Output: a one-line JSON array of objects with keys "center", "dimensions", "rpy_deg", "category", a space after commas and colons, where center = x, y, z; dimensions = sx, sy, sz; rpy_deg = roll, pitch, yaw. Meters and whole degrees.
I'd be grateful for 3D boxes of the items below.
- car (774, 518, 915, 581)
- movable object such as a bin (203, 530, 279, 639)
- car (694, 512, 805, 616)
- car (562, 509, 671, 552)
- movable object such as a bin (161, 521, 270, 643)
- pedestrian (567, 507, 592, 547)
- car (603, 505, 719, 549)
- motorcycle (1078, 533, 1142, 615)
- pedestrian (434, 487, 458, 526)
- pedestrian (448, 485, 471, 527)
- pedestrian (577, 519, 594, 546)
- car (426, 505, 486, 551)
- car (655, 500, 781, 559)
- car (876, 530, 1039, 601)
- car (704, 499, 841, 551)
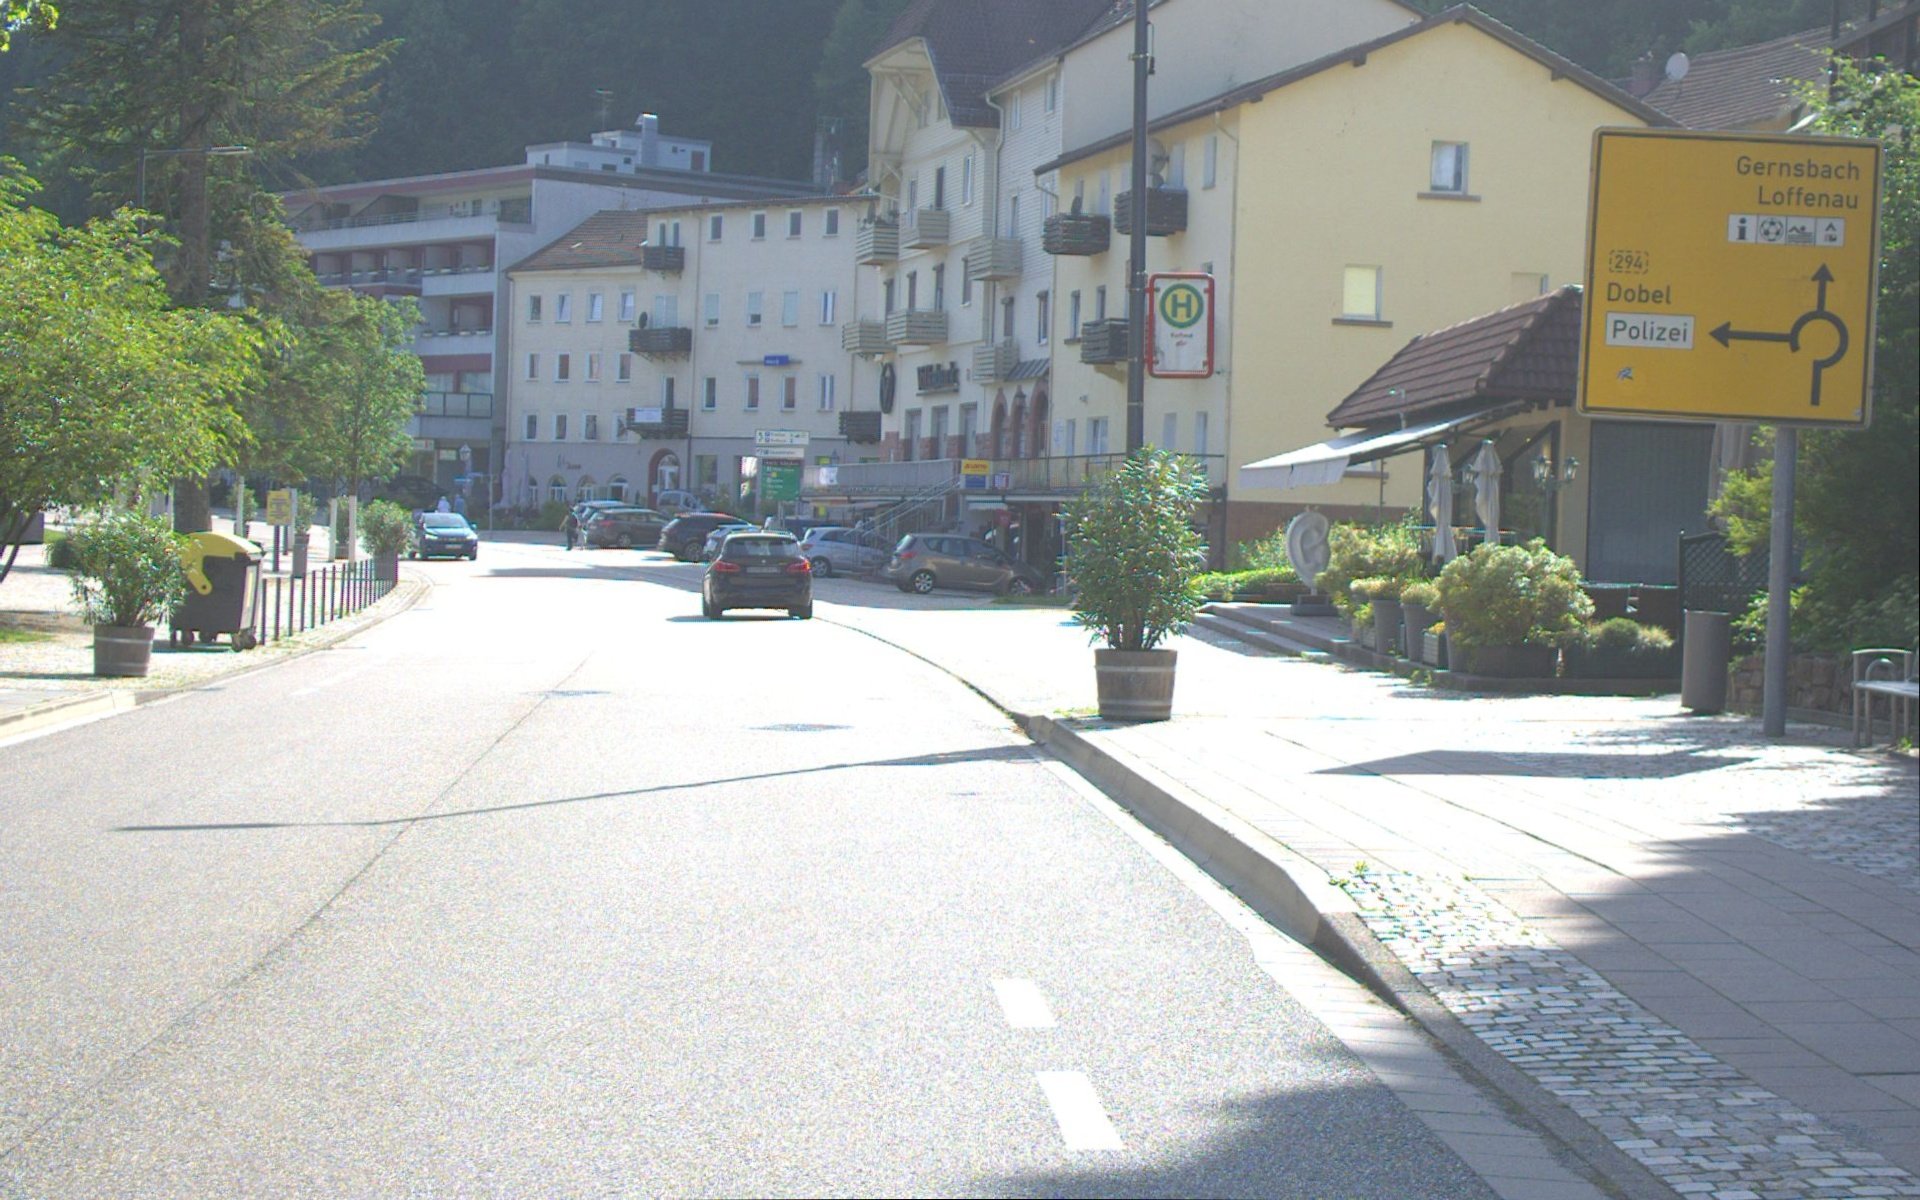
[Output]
[{"center": [-3.496, -1.530, 103.965], "dimensions": [3.908, 1.583, 1.775], "rpy_deg": [4, 1, -12], "category": "car"}, {"center": [-9.343, -0.214, 44.709], "dimensions": [0.755, 1.337, 1.295], "rpy_deg": [4, 1, -5], "category": "movable object such as a bin"}, {"center": [-3.747, -0.666, 60.743], "dimensions": [1.727, 1.569, 3.754], "rpy_deg": [3, 3, -6], "category": "car"}, {"center": [-13.465, -2.737, 134.619], "dimensions": [3.861, 1.544, 1.773], "rpy_deg": [-2, 5, -32], "category": "car"}, {"center": [-9.239, -0.238, 42.705], "dimensions": [1.078, 1.422, 1.377], "rpy_deg": [4, 1, -5], "category": "movable object such as a bin"}, {"center": [-14.184, -2.725, 128.152], "dimensions": [0.735, 1.437, 0.633], "rpy_deg": [-1, 3, -37], "category": "pedestrian"}, {"center": [-11.335, -2.785, 130.338], "dimensions": [4.010, 1.511, 1.773], "rpy_deg": [-2, 5, -32], "category": "car"}, {"center": [2.433, -0.437, 55.937], "dimensions": [0.697, 1.292, 2.213], "rpy_deg": [-1, 1, -6], "category": "motorcycle"}, {"center": [-21.619, -3.948, 144.612], "dimensions": [0.757, 1.588, 0.628], "rpy_deg": [2, 2, -34], "category": "pedestrian"}, {"center": [-21.225, -3.991, 145.849], "dimensions": [0.669, 1.722, 0.707], "rpy_deg": [2, 2, -34], "category": "pedestrian"}, {"center": [-13.988, -2.533, 128.349], "dimensions": [0.417, 0.998, 0.531], "rpy_deg": [-1, 3, -38], "category": "pedestrian"}, {"center": [-16.066, -2.309, 109.766], "dimensions": [1.741, 1.457, 4.188], "rpy_deg": [0, 1, -6], "category": "car"}, {"center": [-8.483, -2.470, 120.249], "dimensions": [4.083, 1.660, 1.773], "rpy_deg": [5, 1, -12], "category": "car"}, {"center": [-0.074, -0.914, 90.495], "dimensions": [3.858, 1.549, 1.761], "rpy_deg": [4, 1, -15], "category": "car"}, {"center": [-6.314, -2.520, 115.418], "dimensions": [4.355, 1.456, 1.773], "rpy_deg": [3, 0, -10], "category": "car"}]
